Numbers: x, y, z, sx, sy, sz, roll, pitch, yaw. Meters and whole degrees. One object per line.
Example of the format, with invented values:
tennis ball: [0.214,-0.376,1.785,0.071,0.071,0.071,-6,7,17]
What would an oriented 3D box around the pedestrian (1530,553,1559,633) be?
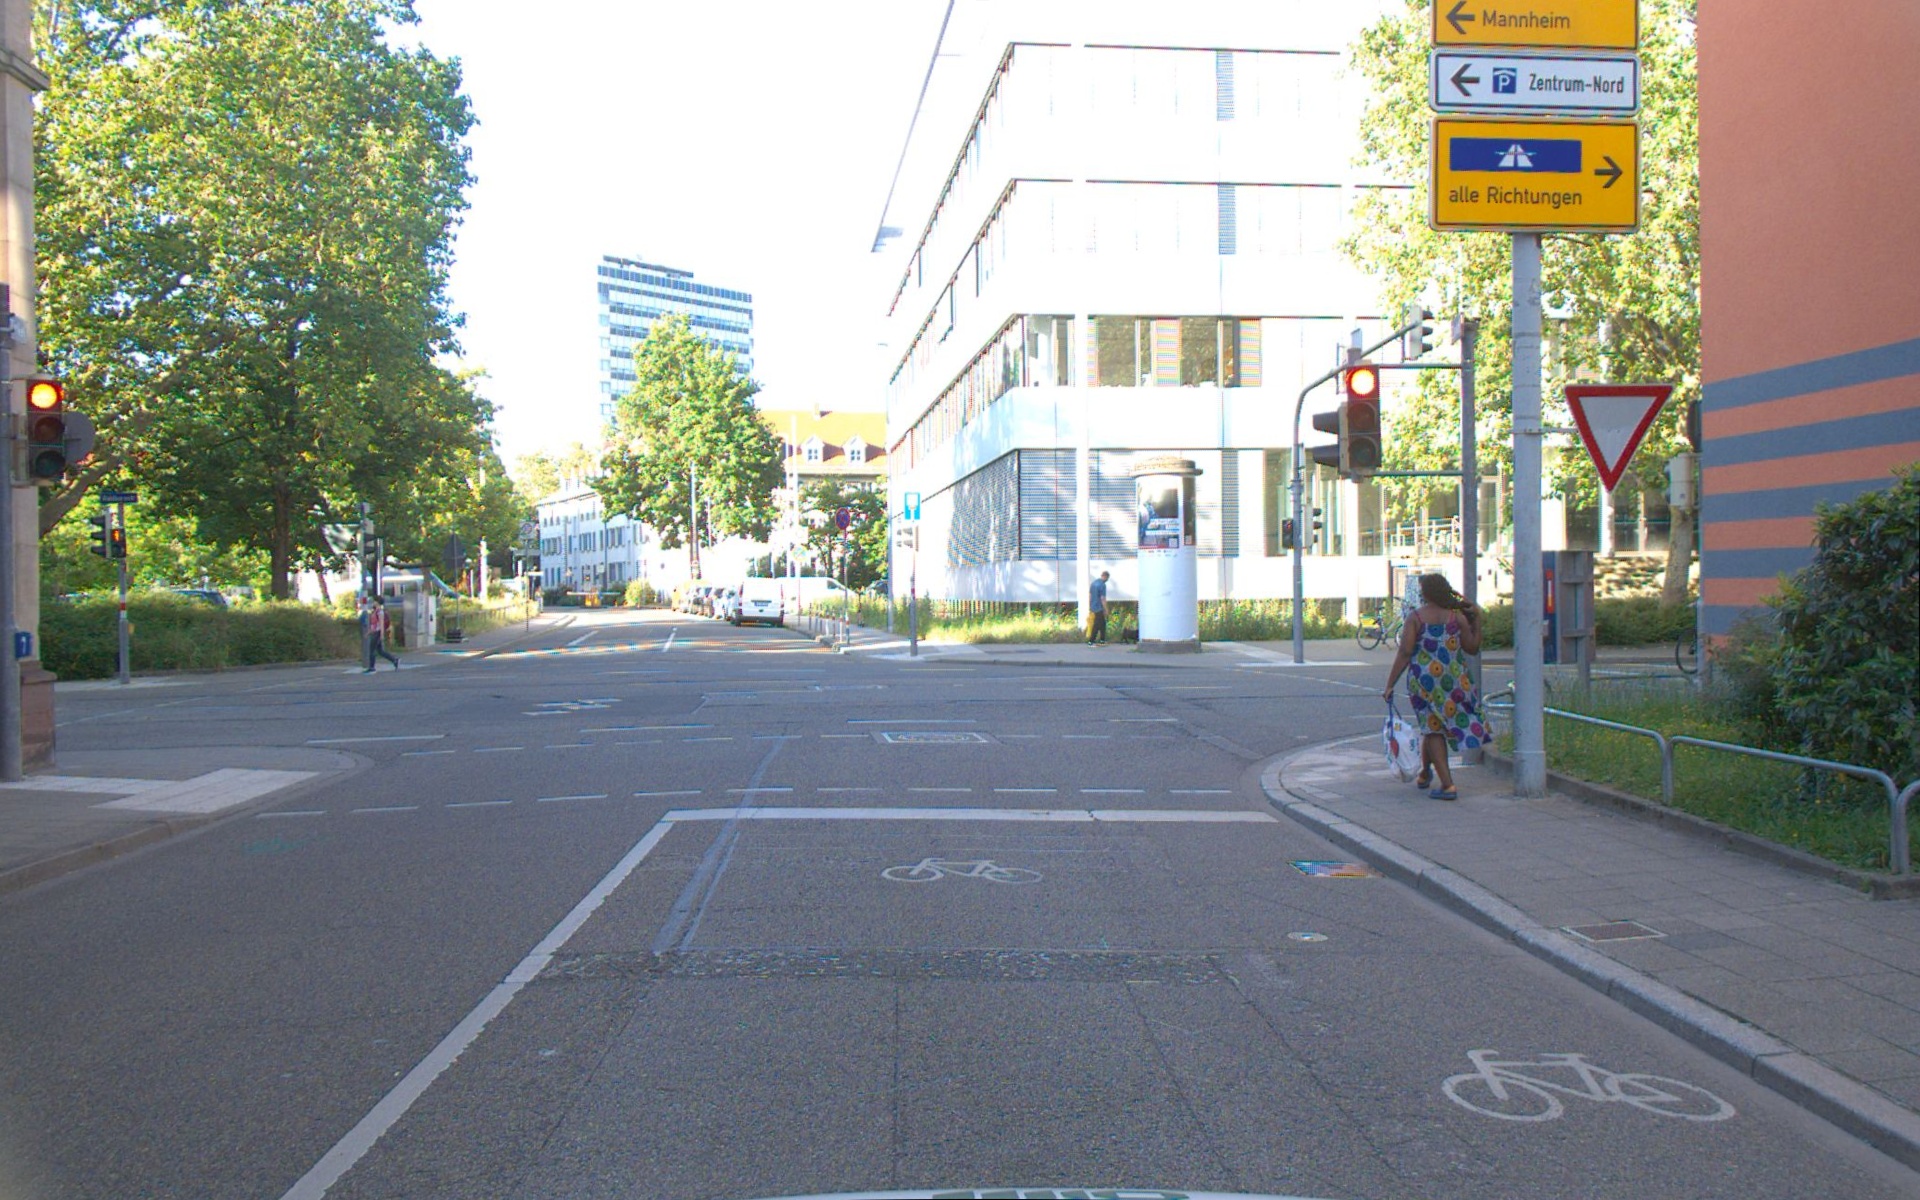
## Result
pedestrian: [13.760,-0.164,38.945,0.526,1.863,1.042,-1,0,14]

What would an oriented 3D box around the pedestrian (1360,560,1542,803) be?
pedestrian: [3.462,0.558,11.725,0.936,1.600,0.750,-4,0,-5]

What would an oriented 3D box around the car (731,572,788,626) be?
car: [-7.867,-0.058,64.546,2.029,1.997,4.229,-1,1,-9]

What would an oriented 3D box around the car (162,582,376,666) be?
car: [-15.766,0.525,37.928,4.146,1.808,1.901,-1,0,-9]

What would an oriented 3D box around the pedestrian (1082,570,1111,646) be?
pedestrian: [3.206,0.178,38.818,0.639,1.766,0.812,-1,0,4]

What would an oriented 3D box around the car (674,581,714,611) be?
car: [-15.387,-0.250,95.450,2.063,1.687,4.463,-1,1,-11]

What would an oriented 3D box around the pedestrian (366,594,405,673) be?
pedestrian: [-12.071,0.697,34.766,0.702,1.627,0.613,-1,0,-24]

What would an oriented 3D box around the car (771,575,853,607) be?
car: [-9.205,-0.539,102.693,4.804,1.905,1.990,1,-1,-17]

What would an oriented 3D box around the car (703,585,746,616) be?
car: [-11.578,0.019,81.209,1.675,1.449,4.223,-1,1,-14]

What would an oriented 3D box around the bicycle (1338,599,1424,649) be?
bicycle: [9.222,0.514,36.275,0.460,1.067,1.886,-1,0,-42]

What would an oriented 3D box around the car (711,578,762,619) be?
car: [-10.332,-0.070,76.307,1.913,1.826,4.224,-1,1,-13]

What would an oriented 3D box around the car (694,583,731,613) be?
car: [-12.857,-0.108,85.666,1.674,1.490,4.226,-1,1,-11]

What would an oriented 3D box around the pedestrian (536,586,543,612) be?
pedestrian: [-25.565,-0.066,100.536,0.373,1.561,0.444,-1,0,-13]
